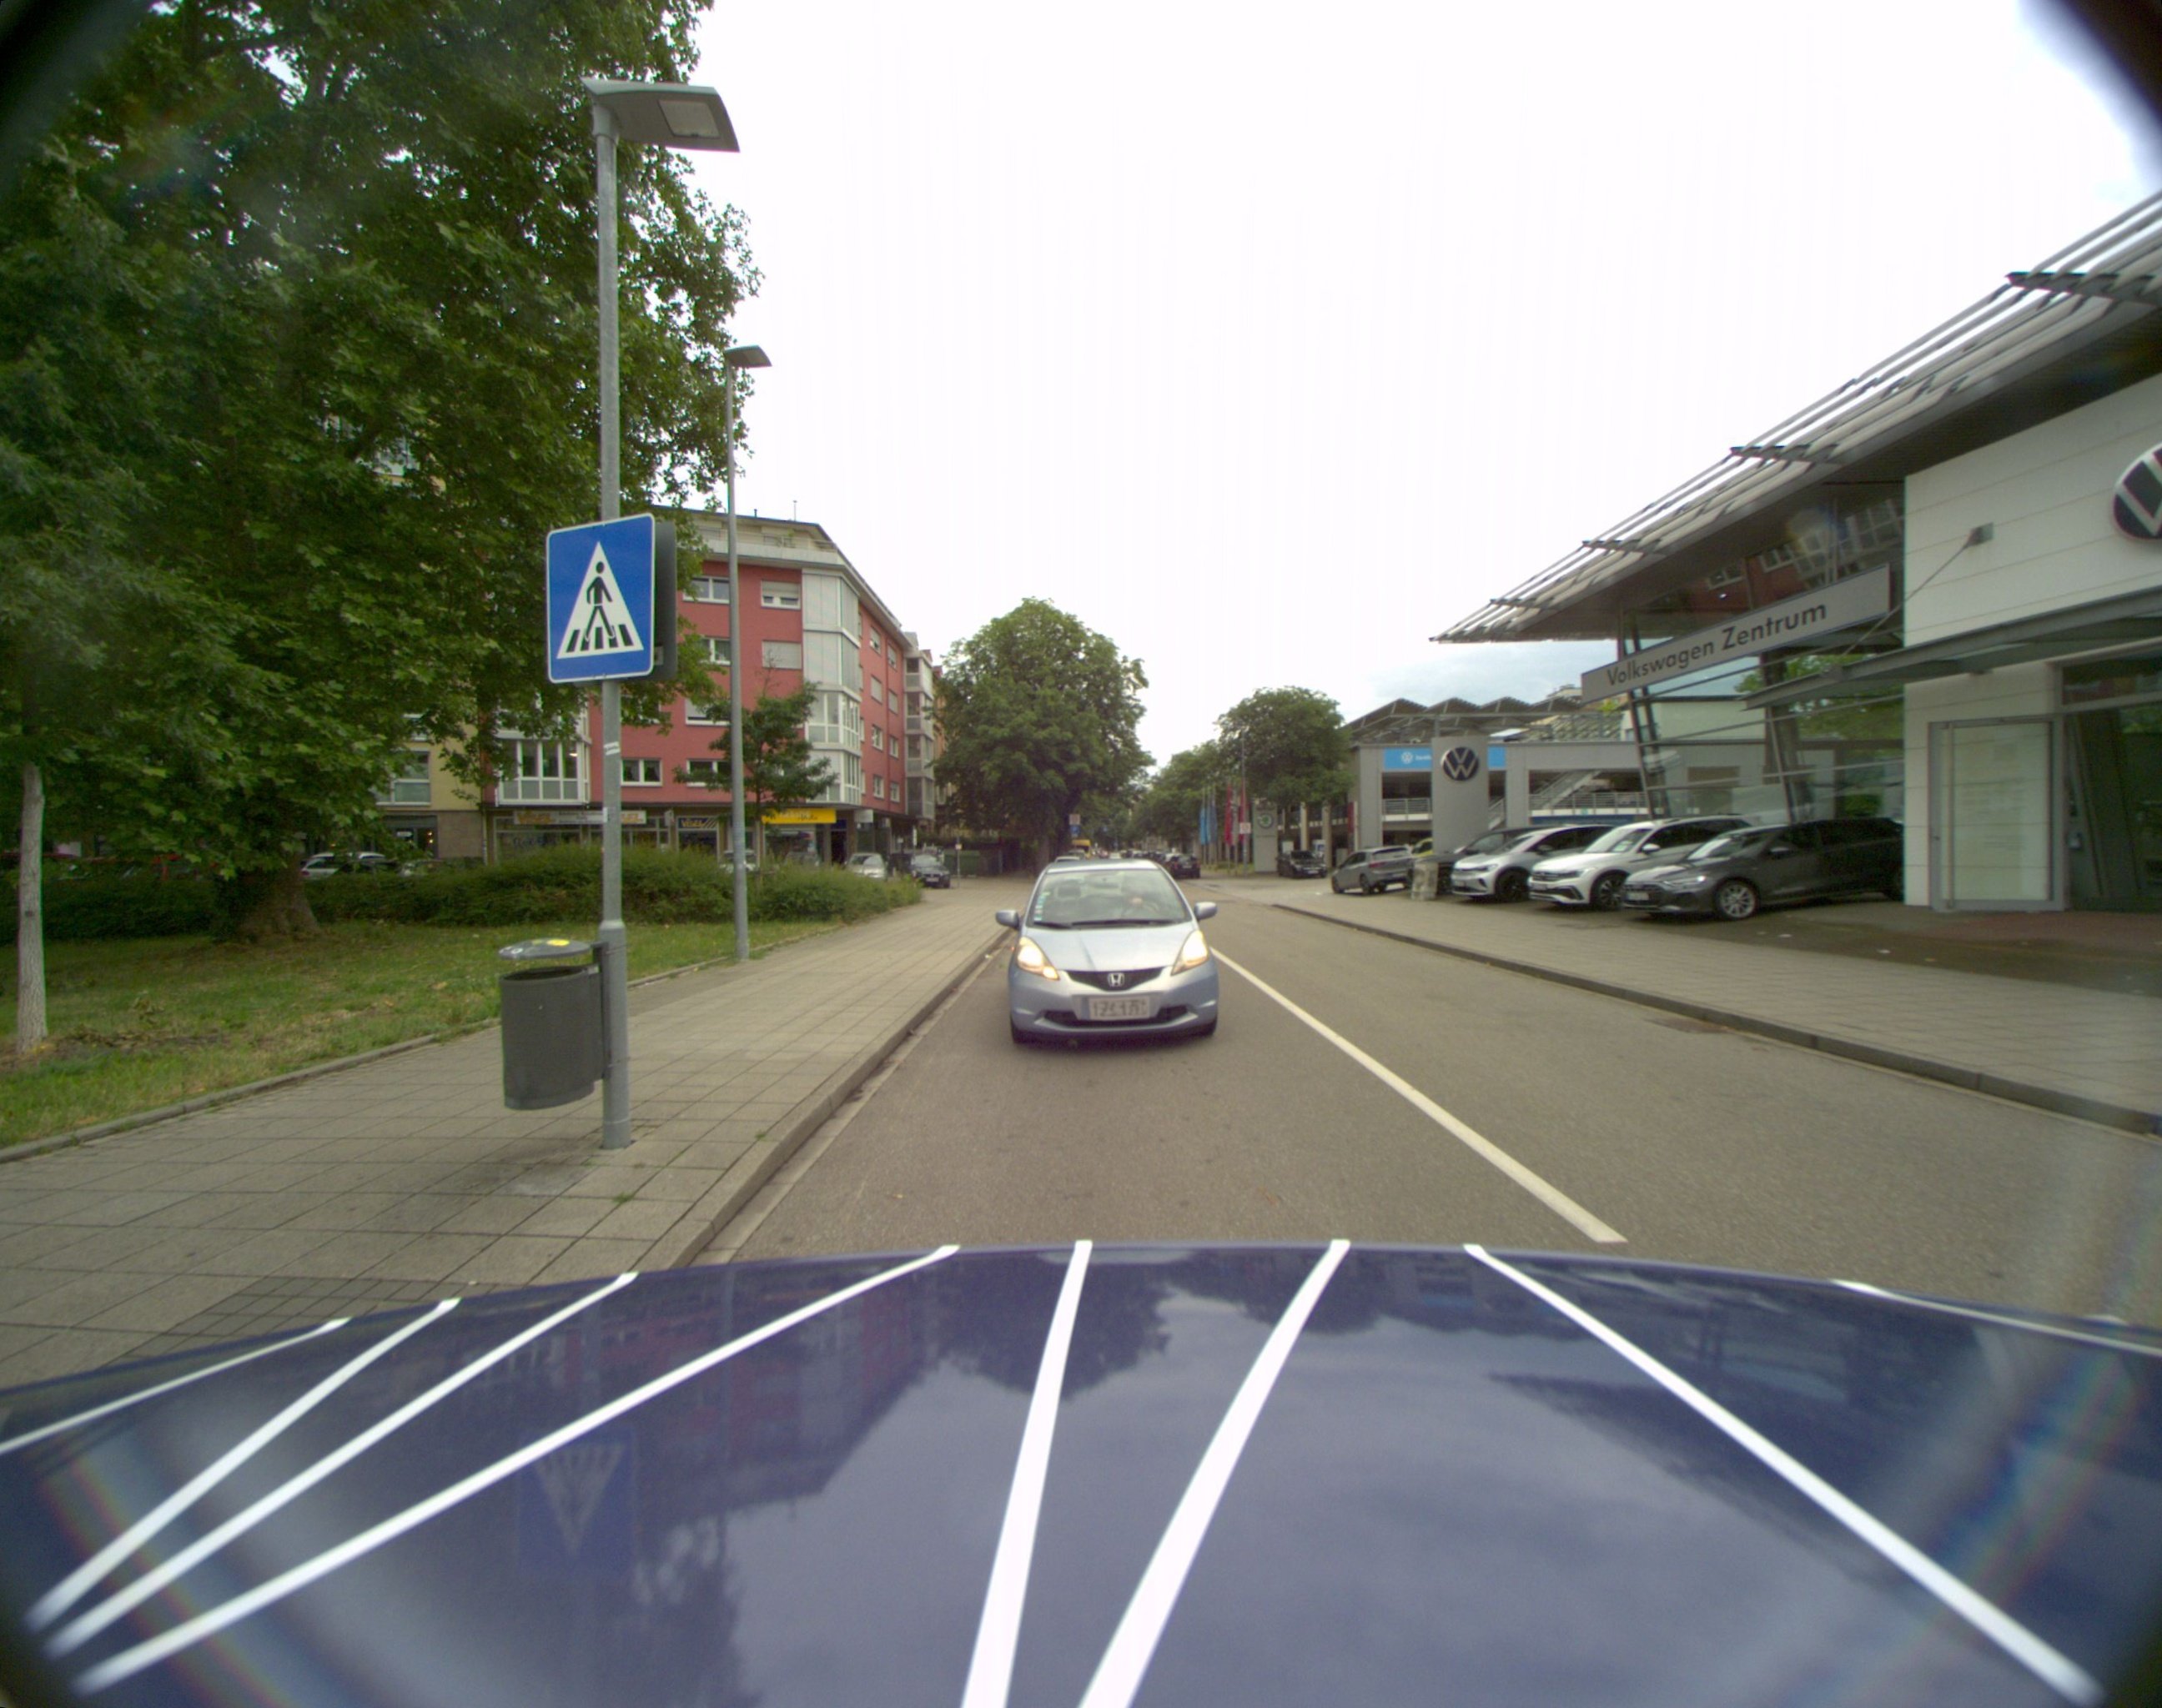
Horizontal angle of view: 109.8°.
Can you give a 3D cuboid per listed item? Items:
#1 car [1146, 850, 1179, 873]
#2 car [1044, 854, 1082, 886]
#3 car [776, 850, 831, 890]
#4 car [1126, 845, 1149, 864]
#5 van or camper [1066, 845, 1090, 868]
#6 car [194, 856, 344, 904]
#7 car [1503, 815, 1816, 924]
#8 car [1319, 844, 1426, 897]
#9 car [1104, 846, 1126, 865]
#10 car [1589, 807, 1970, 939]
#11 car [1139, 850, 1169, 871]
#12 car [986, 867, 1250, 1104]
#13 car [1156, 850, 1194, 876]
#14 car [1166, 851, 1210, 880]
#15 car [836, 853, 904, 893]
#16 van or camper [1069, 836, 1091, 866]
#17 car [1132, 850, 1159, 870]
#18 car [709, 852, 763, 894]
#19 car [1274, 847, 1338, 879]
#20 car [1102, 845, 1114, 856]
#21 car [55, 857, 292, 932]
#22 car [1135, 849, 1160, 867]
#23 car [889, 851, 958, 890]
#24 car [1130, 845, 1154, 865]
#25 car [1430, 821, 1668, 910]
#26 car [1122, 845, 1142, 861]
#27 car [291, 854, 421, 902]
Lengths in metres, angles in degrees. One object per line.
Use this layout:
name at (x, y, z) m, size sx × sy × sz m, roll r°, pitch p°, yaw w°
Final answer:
car at (6.144, 0.538, 57.636) m, size 1.860 × 1.614 × 4.474 m, roll -2°, pitch 1°, yaw -2°
car at (-0.902, 0.784, 40.046) m, size 1.860 × 1.539 × 4.475 m, roll 1°, pitch 1°, yaw 0°
car at (-11.859, 0.619, 32.314) m, size 1.863 × 1.539 × 4.466 m, roll -1°, pitch 0°, yaw -24°
car at (6.318, 0.028, 85.852) m, size 2.022 × 1.974 × 4.781 m, roll -2°, pitch 1°, yaw -2°
van or camper at (-0.222, 0.184, 67.678) m, size 1.998 × 2.002 × 4.000 m, roll -1°, pitch 0°, yaw 1°
car at (-28.004, 0.835, 26.427) m, size 1.863 × 1.481 × 4.467 m, roll -1°, pitch 0°, yaw -23°
car at (11.409, 0.294, 15.244) m, size 4.772 × 1.689 × 1.861 m, roll -4°, pitch 0°, yaw 0°
car at (9.702, 0.526, 25.656) m, size 1.919 × 1.554 × 4.014 m, roll -2°, pitch 0°, yaw -2°
car at (3.784, 0.144, 85.811) m, size 2.022 × 1.974 × 4.781 m, roll -2°, pitch 1°, yaw -2°
car at (11.278, 0.292, 12.516) m, size 4.472 × 1.686 × 1.897 m, roll -4°, pitch 0°, yaw -1°
car at (5.969, 0.490, 62.555) m, size 1.860 × 1.614 × 4.474 m, roll -2°, pitch 1°, yaw -2°
car at (0.216, 0.936, 7.250) m, size 1.753 × 1.458 × 4.097 m, roll -2°, pitch 0°, yaw -1°
car at (6.423, 0.585, 52.398) m, size 1.860 × 1.614 × 4.474 m, roll -2°, pitch 1°, yaw -2°
car at (6.477, 0.649, 46.556) m, size 1.860 × 1.614 × 4.474 m, roll -2°, pitch 1°, yaw -2°
car at (-9.386, 0.777, 33.560) m, size 1.864 × 1.539 × 4.464 m, roll -2°, pitch 2°, yaw -29°
van or camper at (-0.037, -0.254, 72.566) m, size 1.998 × 2.756 × 4.000 m, roll -1°, pitch 1°, yaw 1°
car at (5.693, 0.495, 67.466) m, size 1.860 × 1.614 × 4.474 m, roll -2°, pitch 1°, yaw -2°
car at (-14.155, 0.720, 31.255) m, size 1.863 × 1.539 × 4.466 m, roll -1°, pitch 0°, yaw -24°
car at (11.865, 0.424, 40.328) m, size 1.898 × 1.539 × 4.474 m, roll -2°, pitch 1°, yaw -2°
car at (5.605, -0.736, 155.885) m, size 2.022 × 1.974 × 4.781 m, roll -2°, pitch 1°, yaw -2°
car at (-21.959, 0.880, 18.706) m, size 1.863 × 1.539 × 4.467 m, roll -1°, pitch 0°, yaw -23°
car at (6.464, 0.332, 74.247) m, size 1.860 × 1.614 × 4.474 m, roll -2°, pitch 1°, yaw -2°
car at (-7.143, 0.691, 34.060) m, size 1.864 × 1.539 × 4.465 m, roll -1°, pitch 2°, yaw -28°
car at (6.403, 0.087, 80.104) m, size 1.860 × 1.974 × 4.474 m, roll -2°, pitch 1°, yaw -2°
car at (11.112, 0.274, 18.286) m, size 4.472 × 1.689 × 1.870 m, roll -4°, pitch 0°, yaw 0°
car at (6.710, -0.159, 100.739) m, size 2.022 × 1.974 × 4.781 m, roll -2°, pitch 1°, yaw -2°
car at (-25.912, 0.801, 27.370) m, size 1.863 × 1.539 × 4.467 m, roll -1°, pitch 0°, yaw -23°
